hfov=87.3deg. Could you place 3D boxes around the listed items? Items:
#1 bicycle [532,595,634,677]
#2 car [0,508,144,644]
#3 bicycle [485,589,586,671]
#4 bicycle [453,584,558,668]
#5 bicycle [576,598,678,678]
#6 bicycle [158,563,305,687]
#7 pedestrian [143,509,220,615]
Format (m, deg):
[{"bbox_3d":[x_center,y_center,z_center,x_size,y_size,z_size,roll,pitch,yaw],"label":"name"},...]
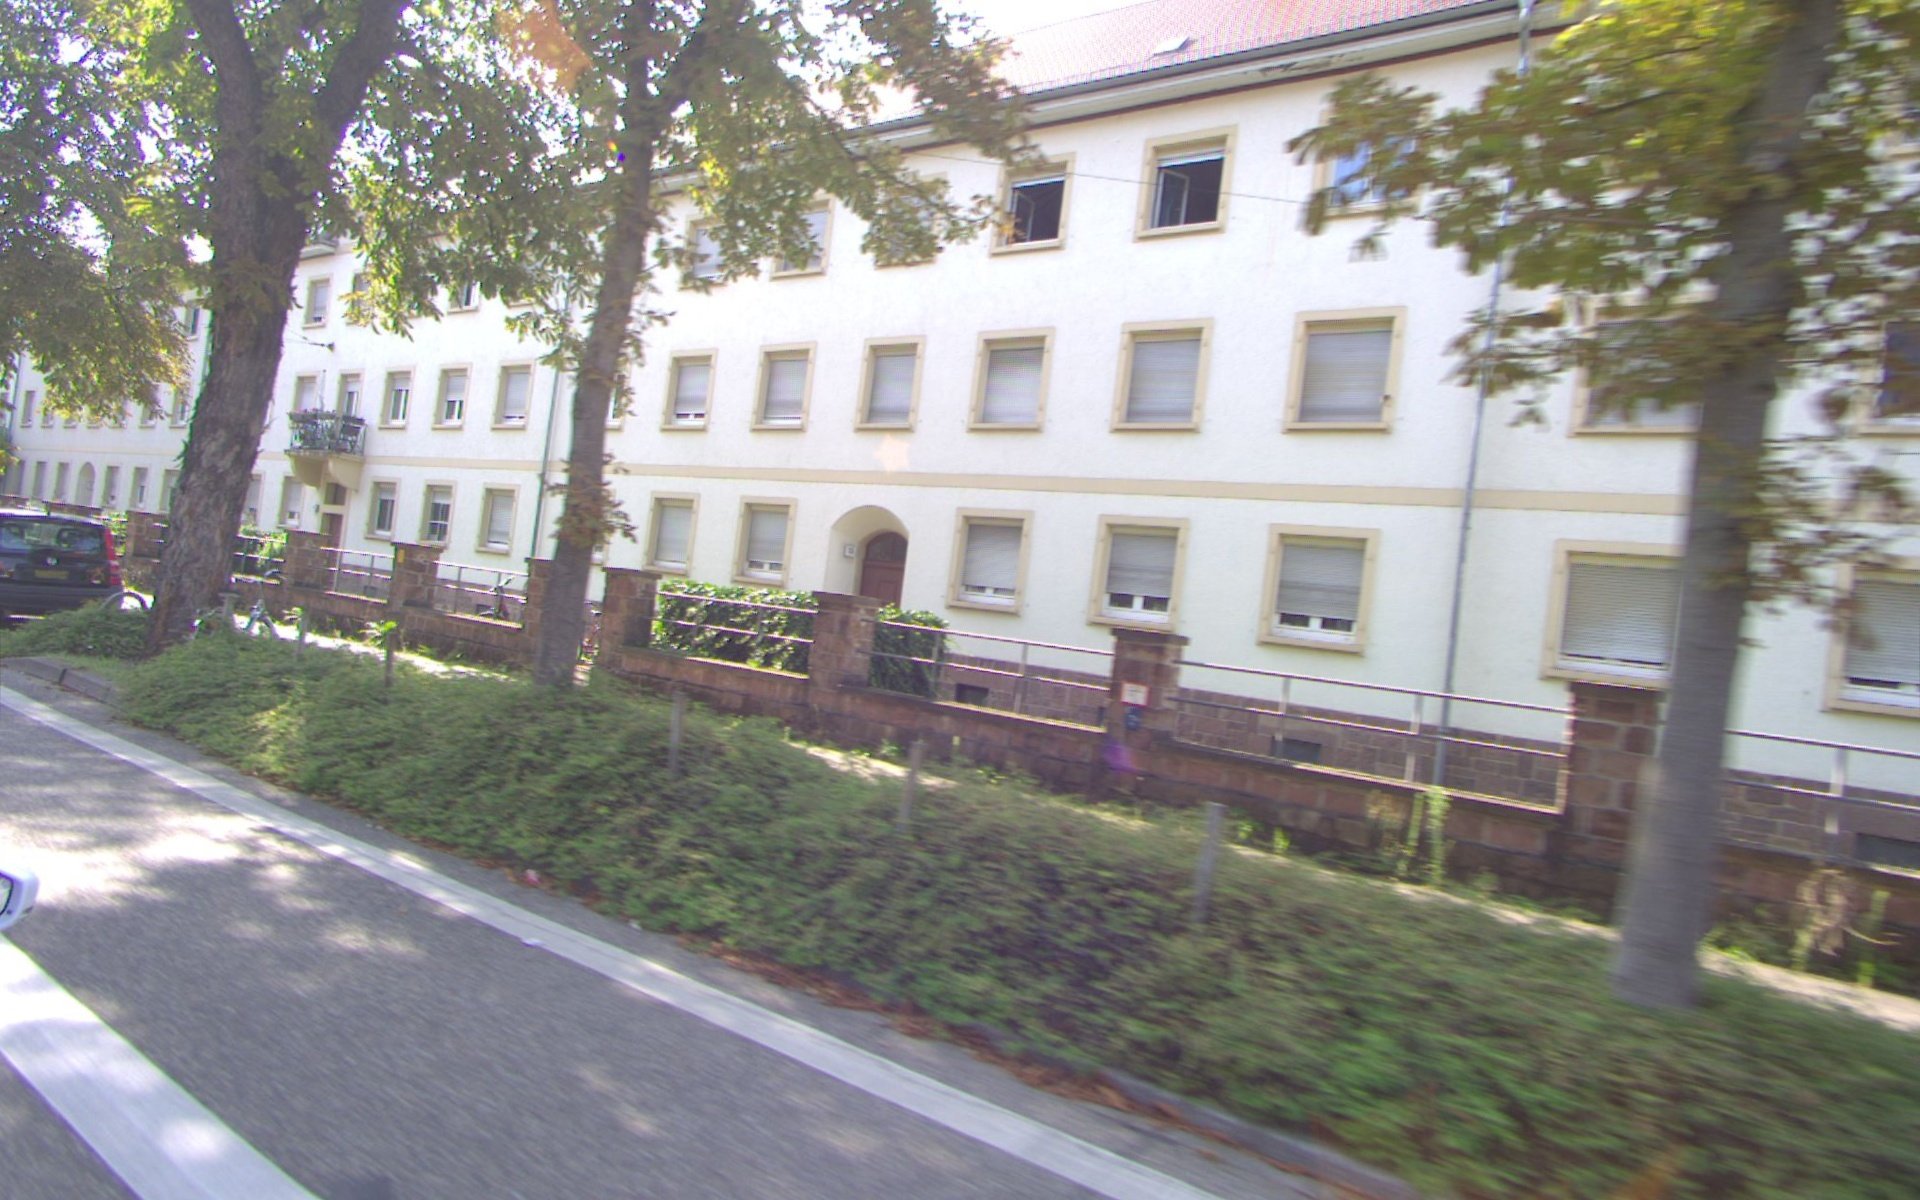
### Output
[{"bbox_3d":[-6.061,0.567,16.135,1.700,1.085,0.524,6,-2,34],"label":"bicycle"},{"bbox_3d":[-12.577,-0.420,13.496,3.785,1.559,1.644,6,0,38],"label":"car"},{"bbox_3d":[-6.793,0.468,16.065,1.700,1.085,0.524,6,-2,34],"label":"bicycle"},{"bbox_3d":[-7.005,0.385,15.480,1.700,1.085,0.524,6,-2,34],"label":"bicycle"},{"bbox_3d":[-5.444,0.607,16.394,1.700,1.085,0.524,6,-2,34],"label":"bicycle"},{"bbox_3d":[-7.289,0.241,10.158,0.517,1.085,1.724,8,-2,-16],"label":"bicycle"},{"bbox_3d":[-14.006,-0.683,18.100,0.865,1.769,0.752,6,-1,39],"label":"pedestrian"}]
